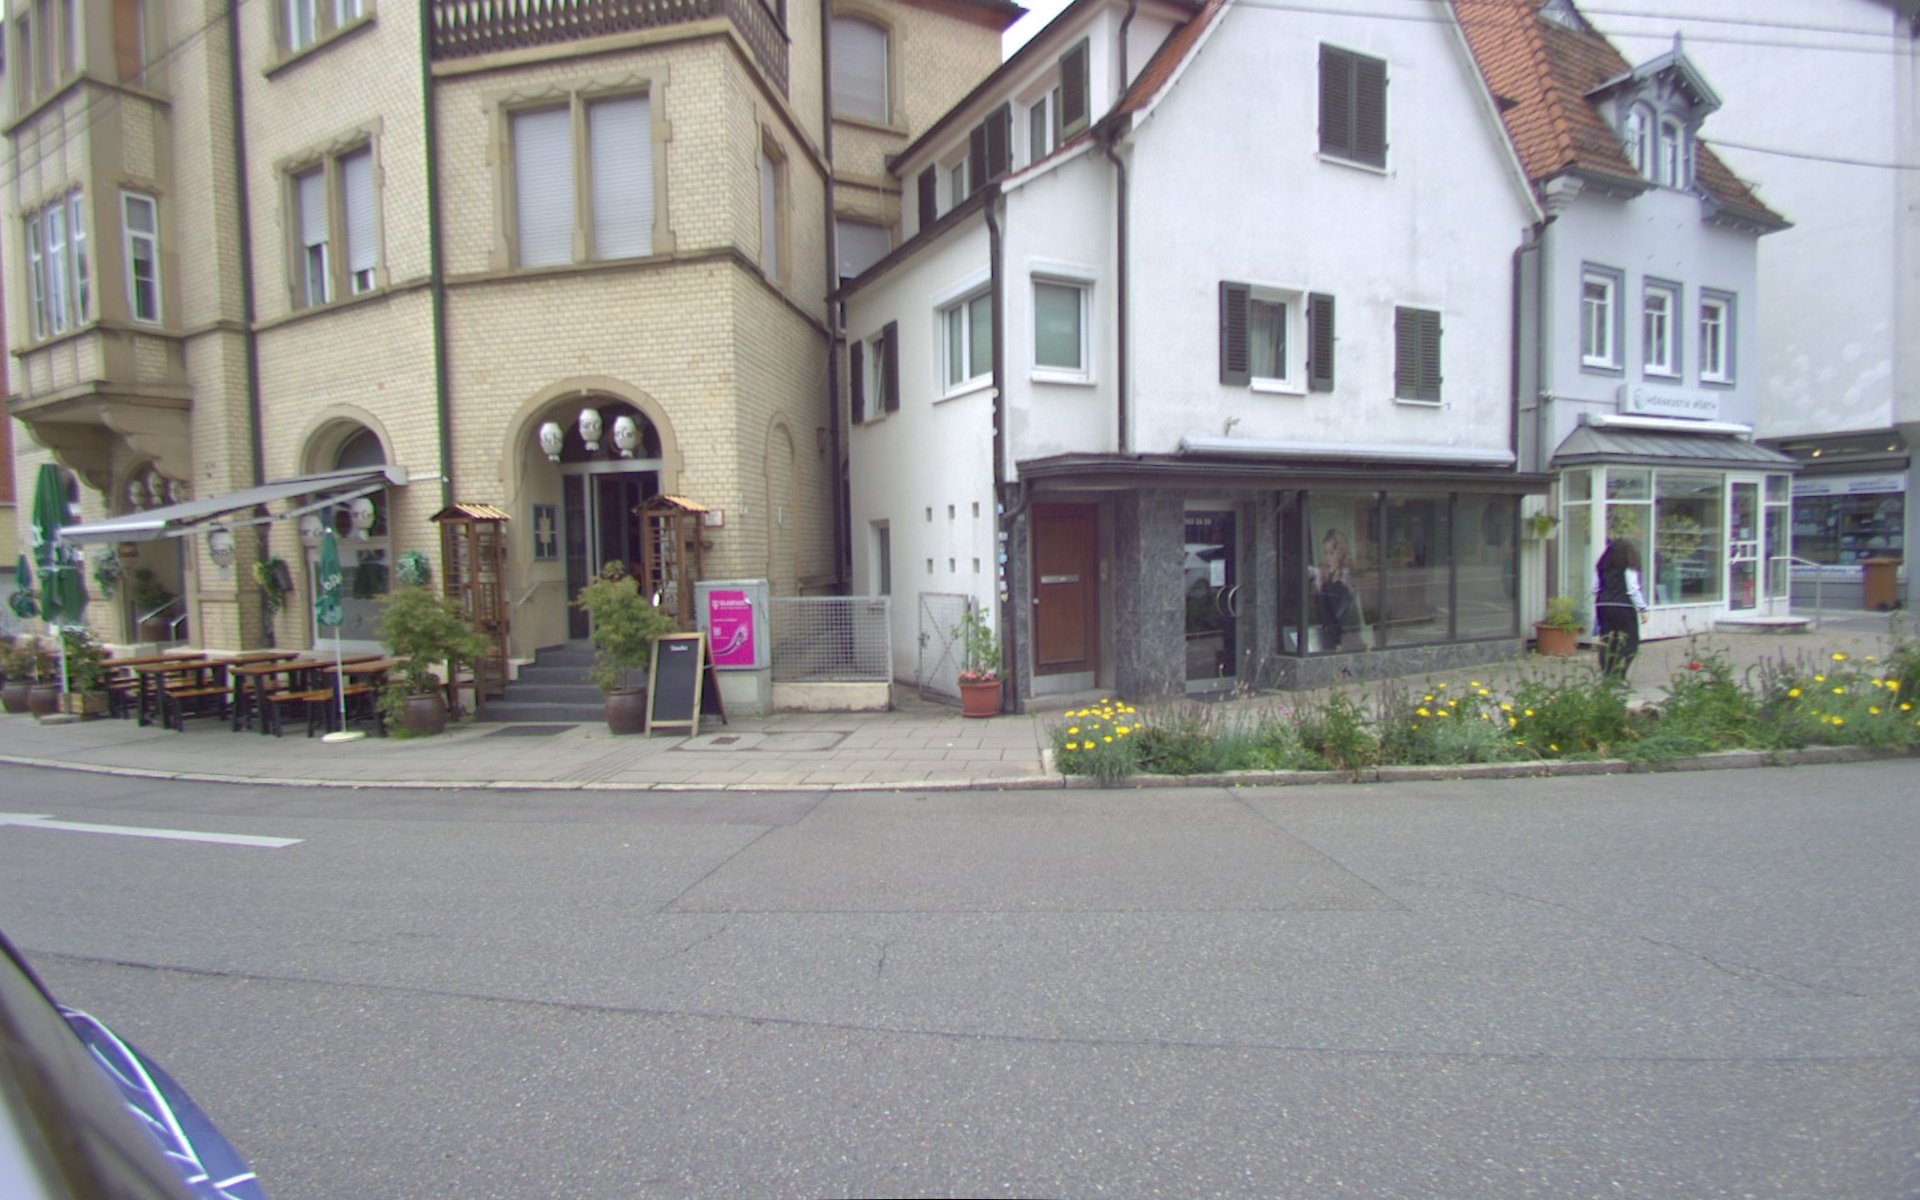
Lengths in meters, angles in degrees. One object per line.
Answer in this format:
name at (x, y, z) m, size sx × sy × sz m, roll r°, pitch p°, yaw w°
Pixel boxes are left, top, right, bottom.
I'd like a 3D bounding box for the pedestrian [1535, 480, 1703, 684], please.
pedestrian at (7.028, -0.213, 10.820) m, size 0.996 × 2.028 × 1.110 m, roll -4°, pitch 2°, yaw -25°
